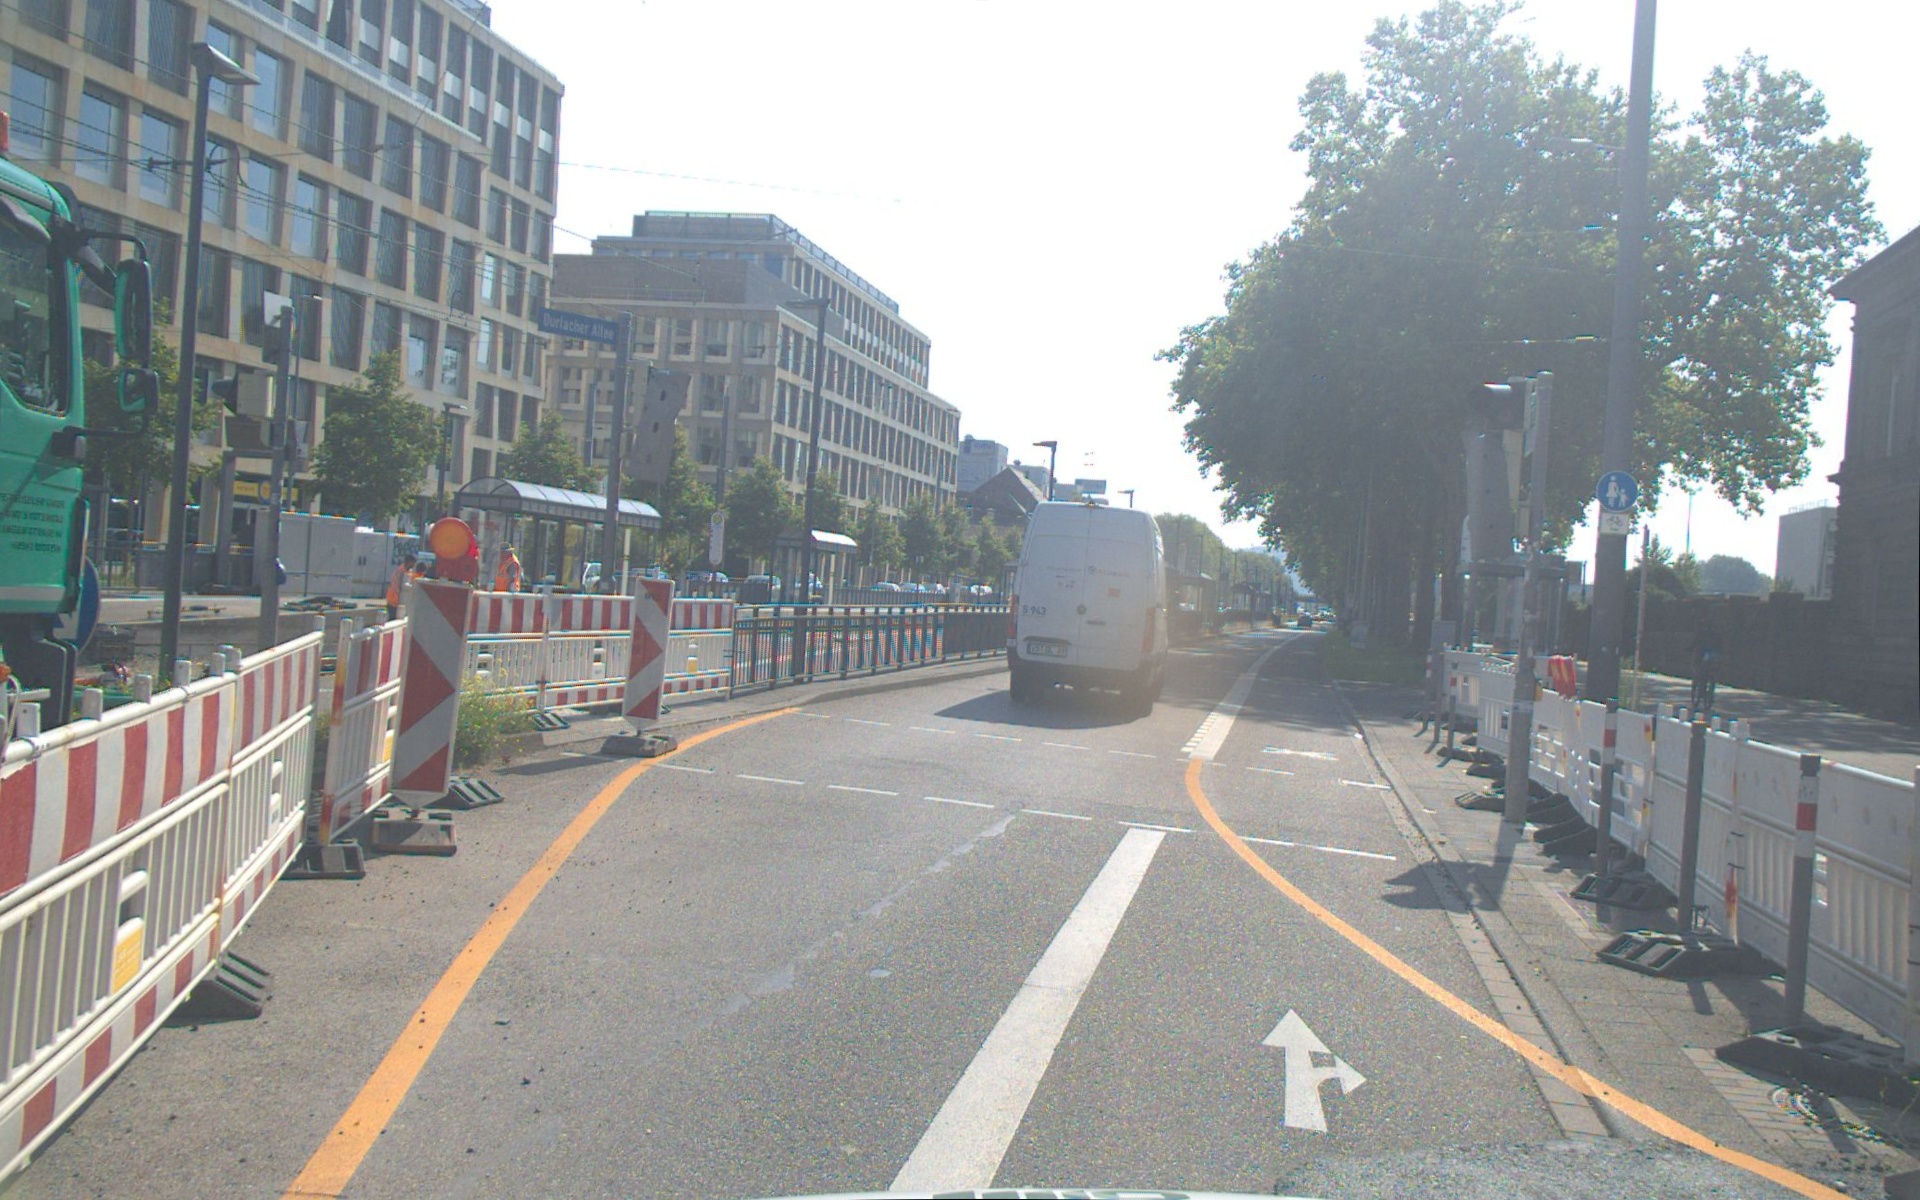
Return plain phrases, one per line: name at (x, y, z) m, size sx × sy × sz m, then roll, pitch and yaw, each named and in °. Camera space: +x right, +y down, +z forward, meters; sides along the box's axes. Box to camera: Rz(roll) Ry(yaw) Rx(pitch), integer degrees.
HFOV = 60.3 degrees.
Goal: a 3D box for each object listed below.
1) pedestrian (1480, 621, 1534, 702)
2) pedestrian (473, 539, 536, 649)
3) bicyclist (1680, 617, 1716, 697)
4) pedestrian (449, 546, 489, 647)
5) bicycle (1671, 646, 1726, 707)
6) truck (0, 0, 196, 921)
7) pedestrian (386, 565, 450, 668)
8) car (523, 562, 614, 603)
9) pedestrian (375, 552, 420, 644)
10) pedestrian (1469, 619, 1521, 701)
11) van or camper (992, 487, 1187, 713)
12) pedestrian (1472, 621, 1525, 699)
pedestrian at (9.242, 1.031, 27.977) m, size 0.725 × 1.283 × 0.612 m, roll 4°, pitch 0°, yaw 12°
pedestrian at (-8.421, -0.111, 30.607) m, size 0.709 × 1.984 × 0.787 m, roll 3°, pitch 1°, yaw 27°
bicyclist at (14.810, 1.138, 33.198) m, size 0.459 × 1.566 × 0.597 m, roll 3°, pitch 0°, yaw 9°
pedestrian at (-9.150, -0.068, 30.829) m, size 0.615 × 1.847 × 0.637 m, roll 2°, pitch 1°, yaw -20°
bicycle at (14.805, 1.511, 33.199) m, size 0.481 × 1.107 × 1.859 m, roll 3°, pitch 1°, yaw 9°
truck at (-4.912, -0.812, 3.074) m, size 2.735 × 3.979 × 8.420 m, roll 4°, pitch 1°, yaw 1°
pedestrian at (-9.157, 0.278, 27.941) m, size 0.766 × 1.692 × 0.658 m, roll 2°, pitch 1°, yaw -44°
car at (-14.842, -0.633, 62.933) m, size 1.648 × 1.432 × 4.377 m, roll 3°, pitch 1°, yaw 12°
pedestrian at (-9.998, -0.041, 29.424) m, size 0.628 × 1.581 × 0.624 m, roll 2°, pitch 1°, yaw -14°
pedestrian at (9.512, 1.058, 29.414) m, size 0.734 × 1.389 × 0.612 m, roll 4°, pitch 0°, yaw 12°
van or camper at (1.995, -0.006, 23.689) m, size 2.071 × 2.728 × 5.255 m, roll 4°, pitch 1°, yaw 10°
pedestrian at (9.358, 1.043, 28.763) m, size 0.725 × 1.283 × 0.612 m, roll 4°, pitch 0°, yaw 12°
